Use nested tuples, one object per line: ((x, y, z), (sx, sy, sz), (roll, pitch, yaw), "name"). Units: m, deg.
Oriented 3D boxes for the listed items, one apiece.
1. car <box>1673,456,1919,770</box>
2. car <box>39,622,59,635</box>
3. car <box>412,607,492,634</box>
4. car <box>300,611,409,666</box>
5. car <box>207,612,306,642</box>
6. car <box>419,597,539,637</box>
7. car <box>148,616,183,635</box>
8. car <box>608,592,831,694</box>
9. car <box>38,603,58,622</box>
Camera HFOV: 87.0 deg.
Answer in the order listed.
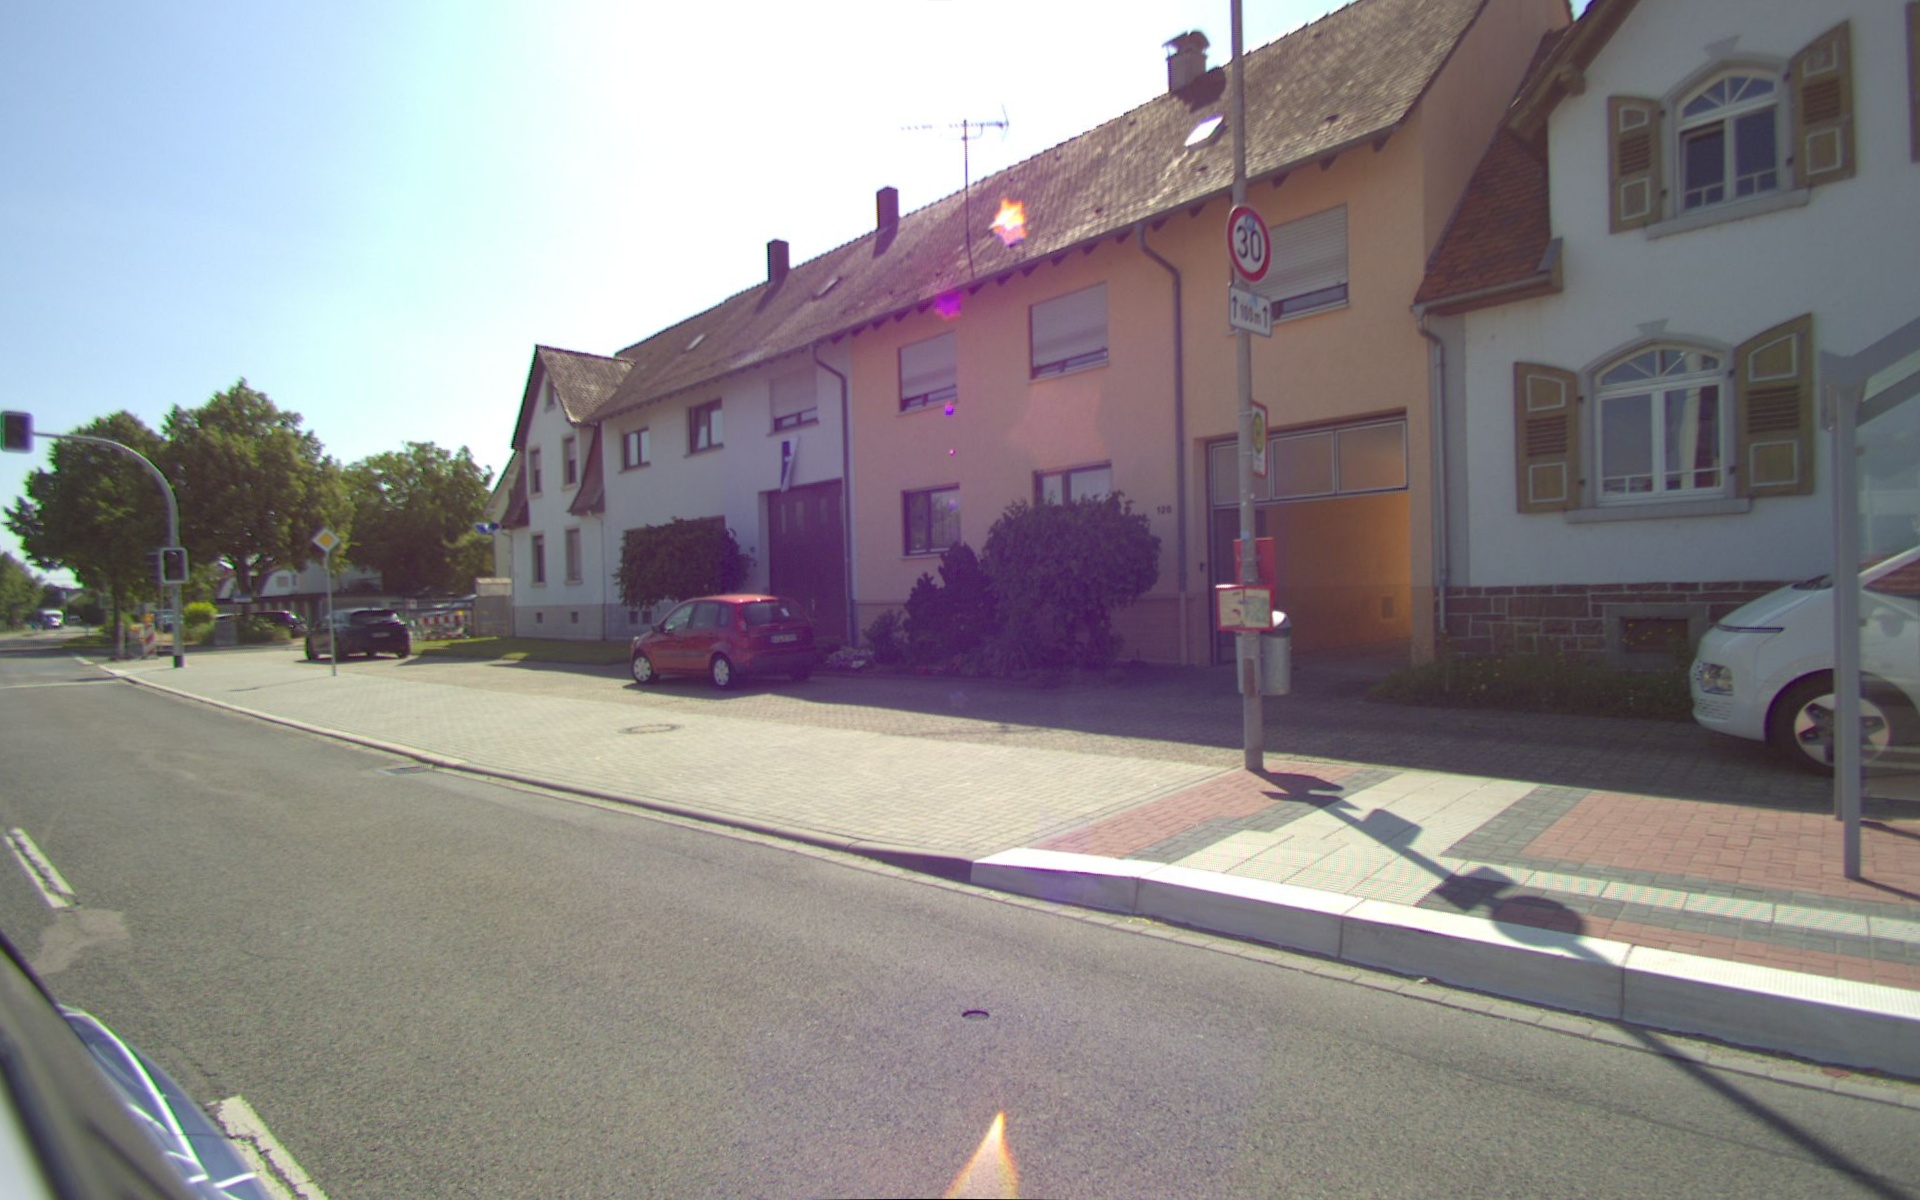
((7.809, 0.048, 6.354), (5.262, 2.001, 2.104), (-1, 1, 41), "car")
((-112.257, 3.491, 124.688), (1.819, 1.604, 4.111), (-1, 0, -42), "car")
((-30.894, 1.242, 61.613), (2.000, 1.516, 3.943), (-2, -1, 43), "car")
((-17.476, 1.054, 29.113), (1.695, 1.418, 4.401), (0, 0, -45), "car")
((-37.870, 1.440, 54.601), (3.933, 1.516, 2.005), (-1, 0, -13), "car")
((-26.092, 0.883, 55.071), (2.000, 2.060, 5.550), (-2, -1, 42), "car")
((-65.842, 2.096, 83.820), (1.970, 1.516, 4.004), (-1, -1, -43), "car")
((-4.104, 0.698, 16.931), (3.915, 1.464, 1.696), (-3, 0, 43), "car")
((-122.444, 1.649, 135.877), (1.910, 2.521, 5.845), (-1, 0, -42), "car")
